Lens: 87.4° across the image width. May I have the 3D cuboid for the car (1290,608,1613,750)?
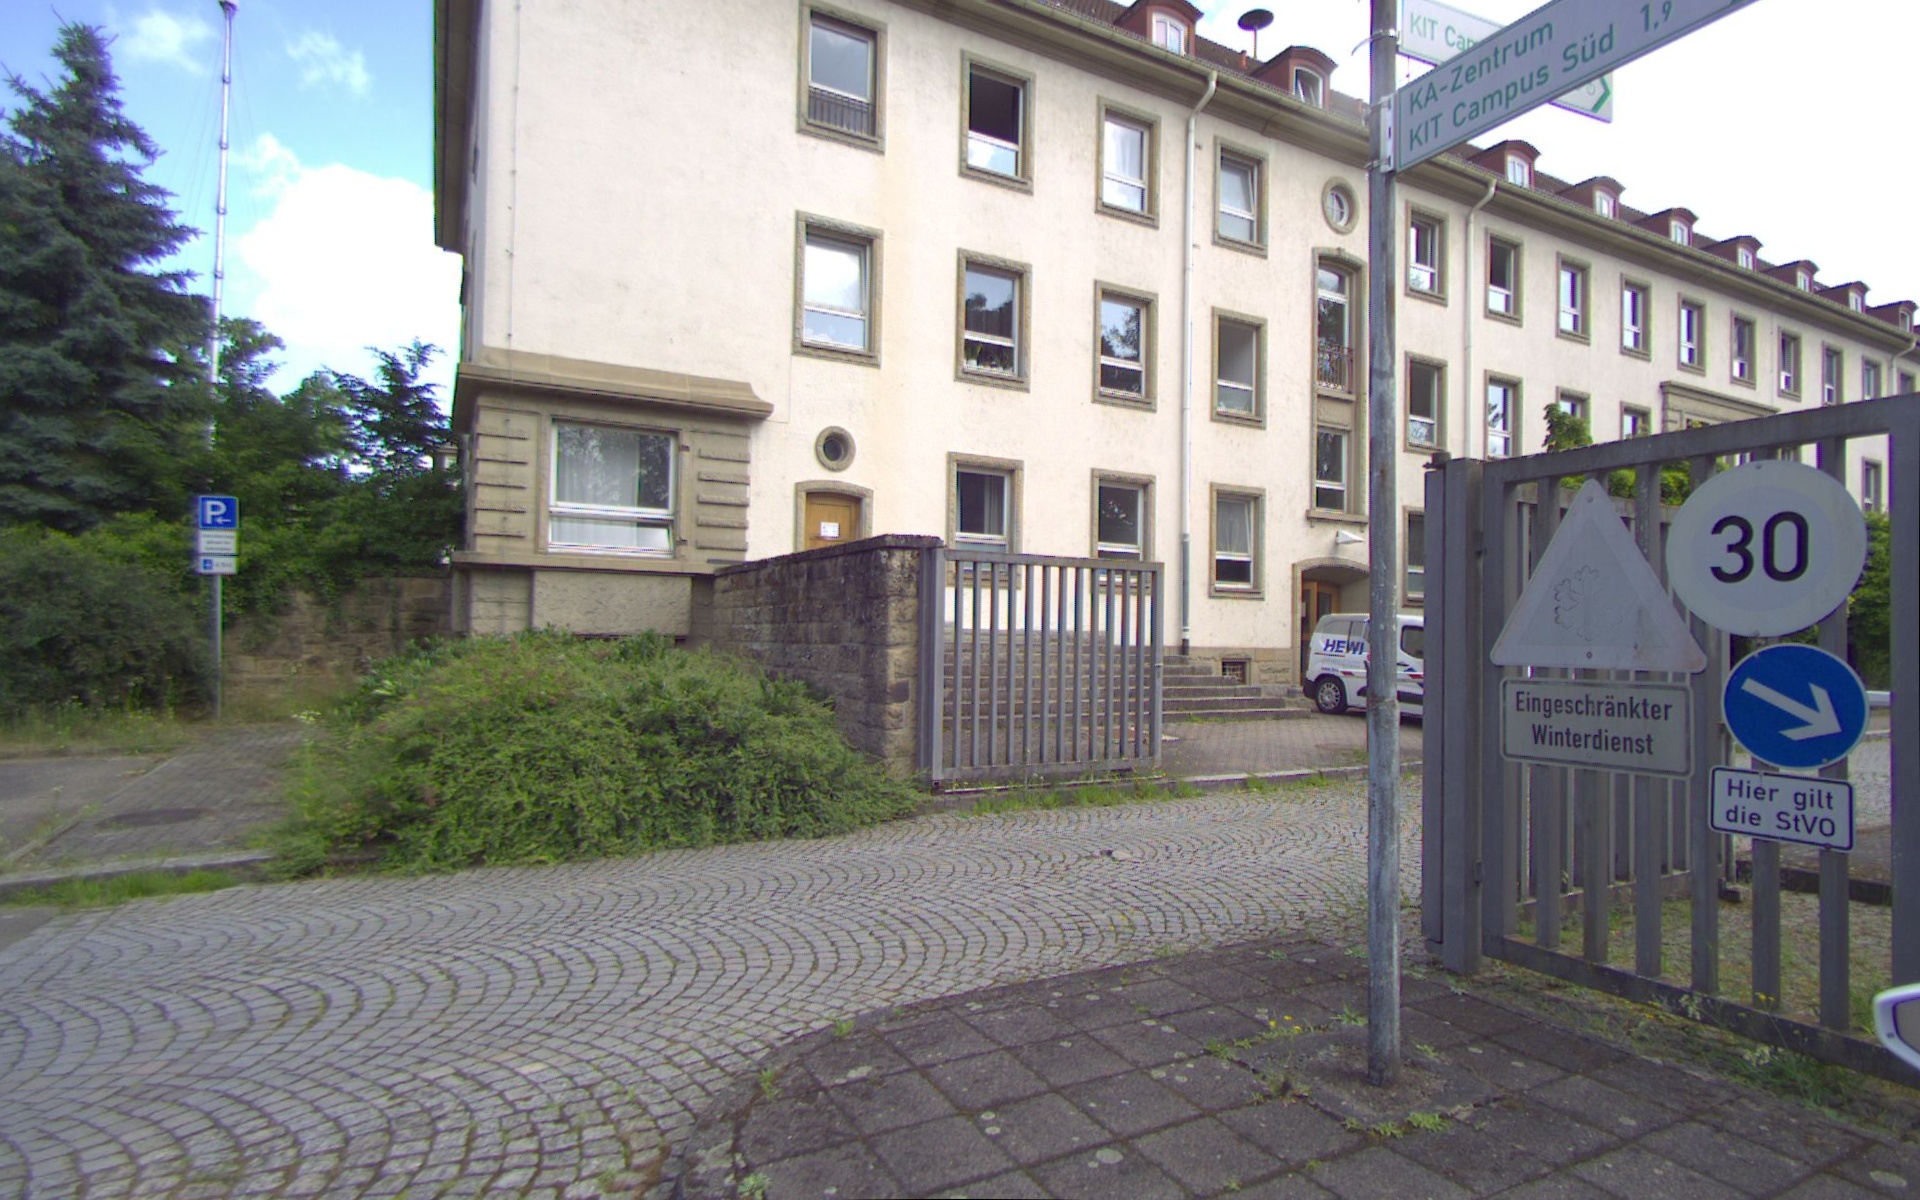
[{"bbox_3d":[7.825,1.148,16.461,1.838,1.775,4.412,2,2,-31],"label":"car"}]
